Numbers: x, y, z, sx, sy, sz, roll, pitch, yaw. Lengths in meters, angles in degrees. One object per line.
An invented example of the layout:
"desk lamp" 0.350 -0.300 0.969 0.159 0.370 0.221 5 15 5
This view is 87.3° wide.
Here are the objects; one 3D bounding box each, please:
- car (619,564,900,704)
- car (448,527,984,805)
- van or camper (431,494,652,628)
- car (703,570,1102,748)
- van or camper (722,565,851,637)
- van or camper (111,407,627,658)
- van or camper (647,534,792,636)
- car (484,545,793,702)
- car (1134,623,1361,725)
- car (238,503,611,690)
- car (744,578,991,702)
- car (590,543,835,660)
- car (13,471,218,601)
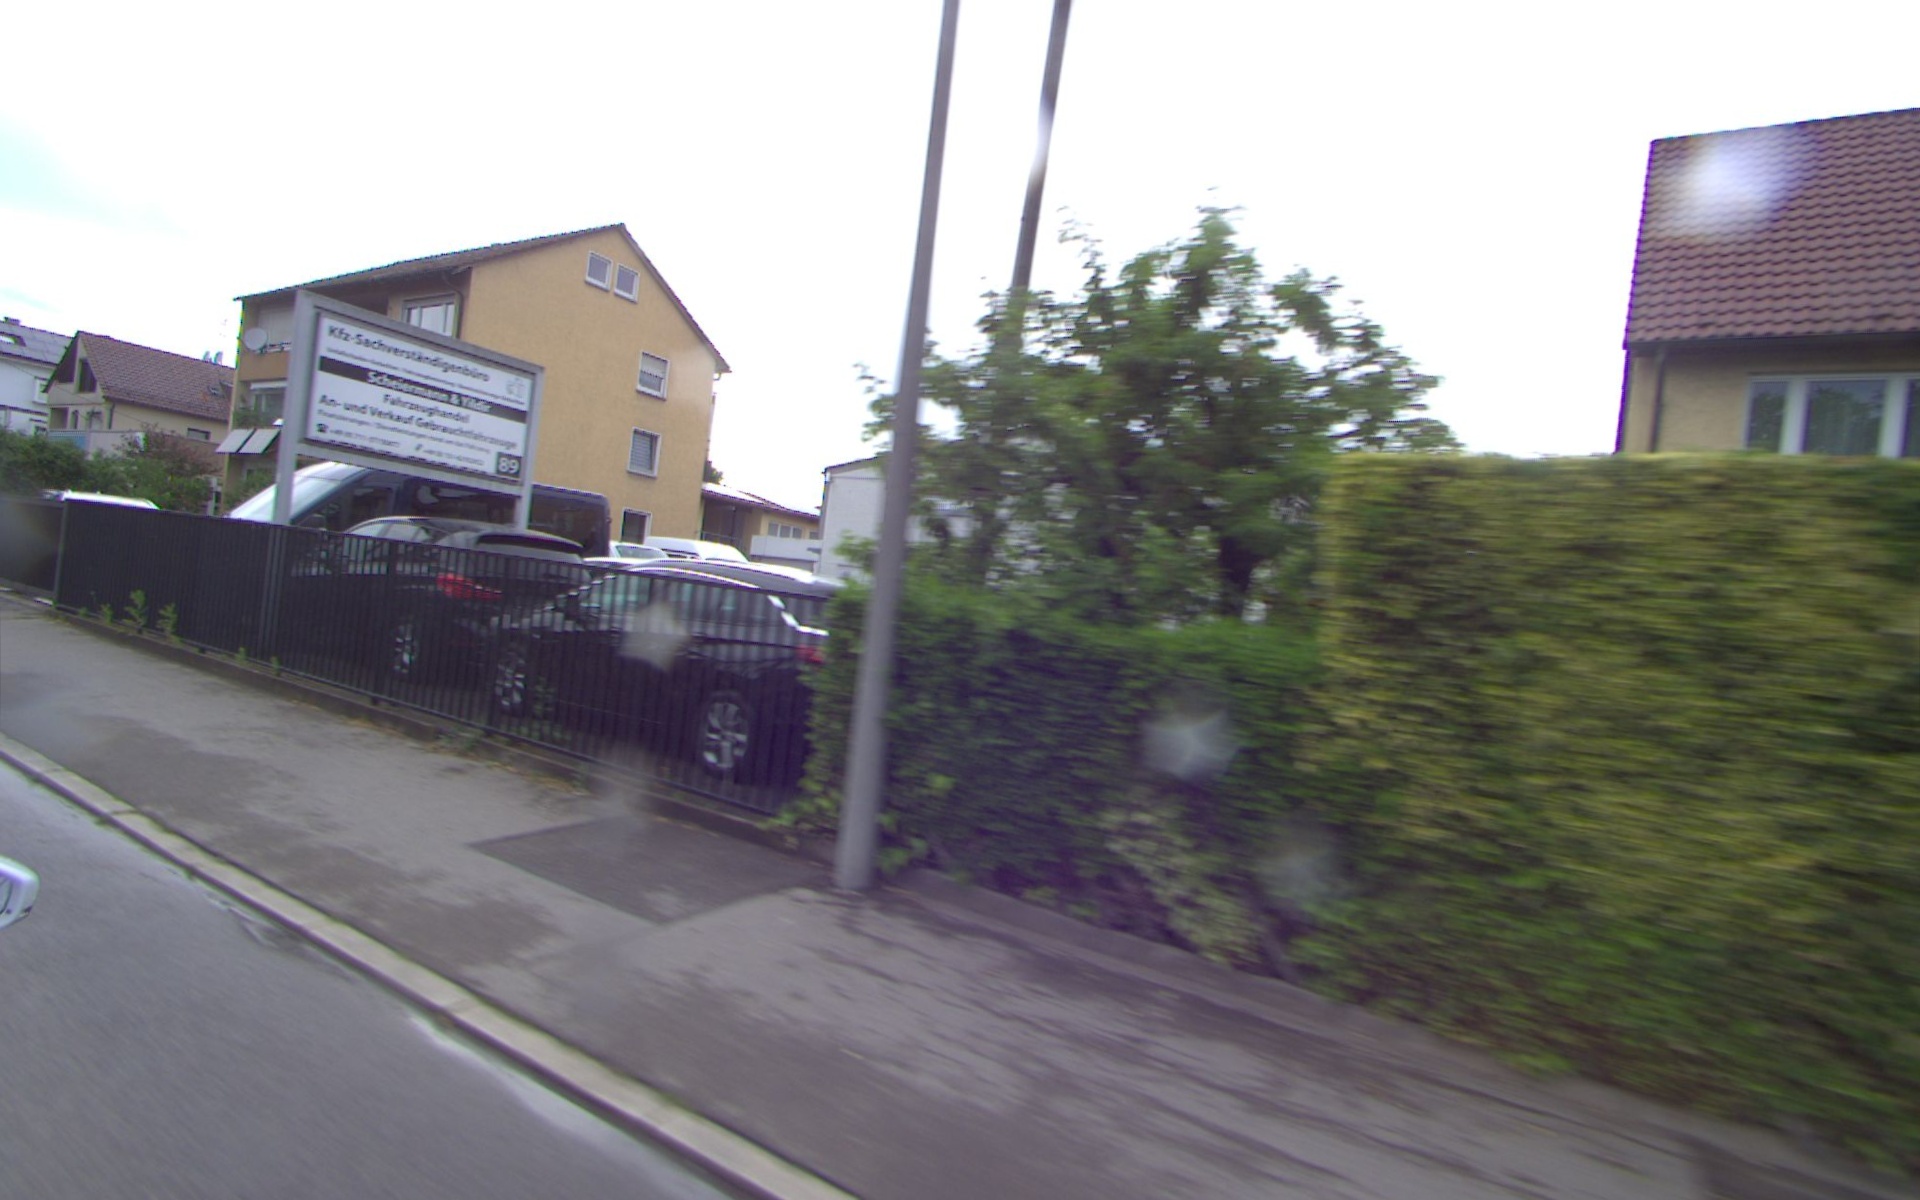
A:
"car" -2.997 0.460 14.727 3.939 1.583 1.664 4 -4 36
"car" -2.077 0.419 8.011 4.177 1.473 1.664 7 -3 35
"van or camper" -10.120 -0.963 24.050 5.932 2.711 2.058 4 -2 38
"car" -0.690 0.576 10.537 3.846 1.368 1.739 4 -4 37
"van or camper" -5.356 0.008 30.767 1.809 1.841 3.952 10 -5 -44
"van or camper" -8.036 -0.696 14.511 2.098 2.513 5.914 5 -3 33
"van or camper" -6.902 -0.408 28.560 2.071 2.435 4.354 9 -4 -39
"car" -4.227 0.262 13.003 3.939 1.583 1.664 4 -4 36
"car" 5.148 1.325 18.119 3.552 1.368 1.588 5 -4 31
"car" -5.971 -0.100 10.993 4.497 1.583 1.664 4 -4 36
"car" -1.613 0.641 16.910 3.907 1.616 1.631 4 -4 36
"car" -4.542 0.098 19.124 1.683 1.497 4.333 4 -7 36
"car" -14.834 -1.048 17.541 5.171 1.668 2.118 3 -5 45
